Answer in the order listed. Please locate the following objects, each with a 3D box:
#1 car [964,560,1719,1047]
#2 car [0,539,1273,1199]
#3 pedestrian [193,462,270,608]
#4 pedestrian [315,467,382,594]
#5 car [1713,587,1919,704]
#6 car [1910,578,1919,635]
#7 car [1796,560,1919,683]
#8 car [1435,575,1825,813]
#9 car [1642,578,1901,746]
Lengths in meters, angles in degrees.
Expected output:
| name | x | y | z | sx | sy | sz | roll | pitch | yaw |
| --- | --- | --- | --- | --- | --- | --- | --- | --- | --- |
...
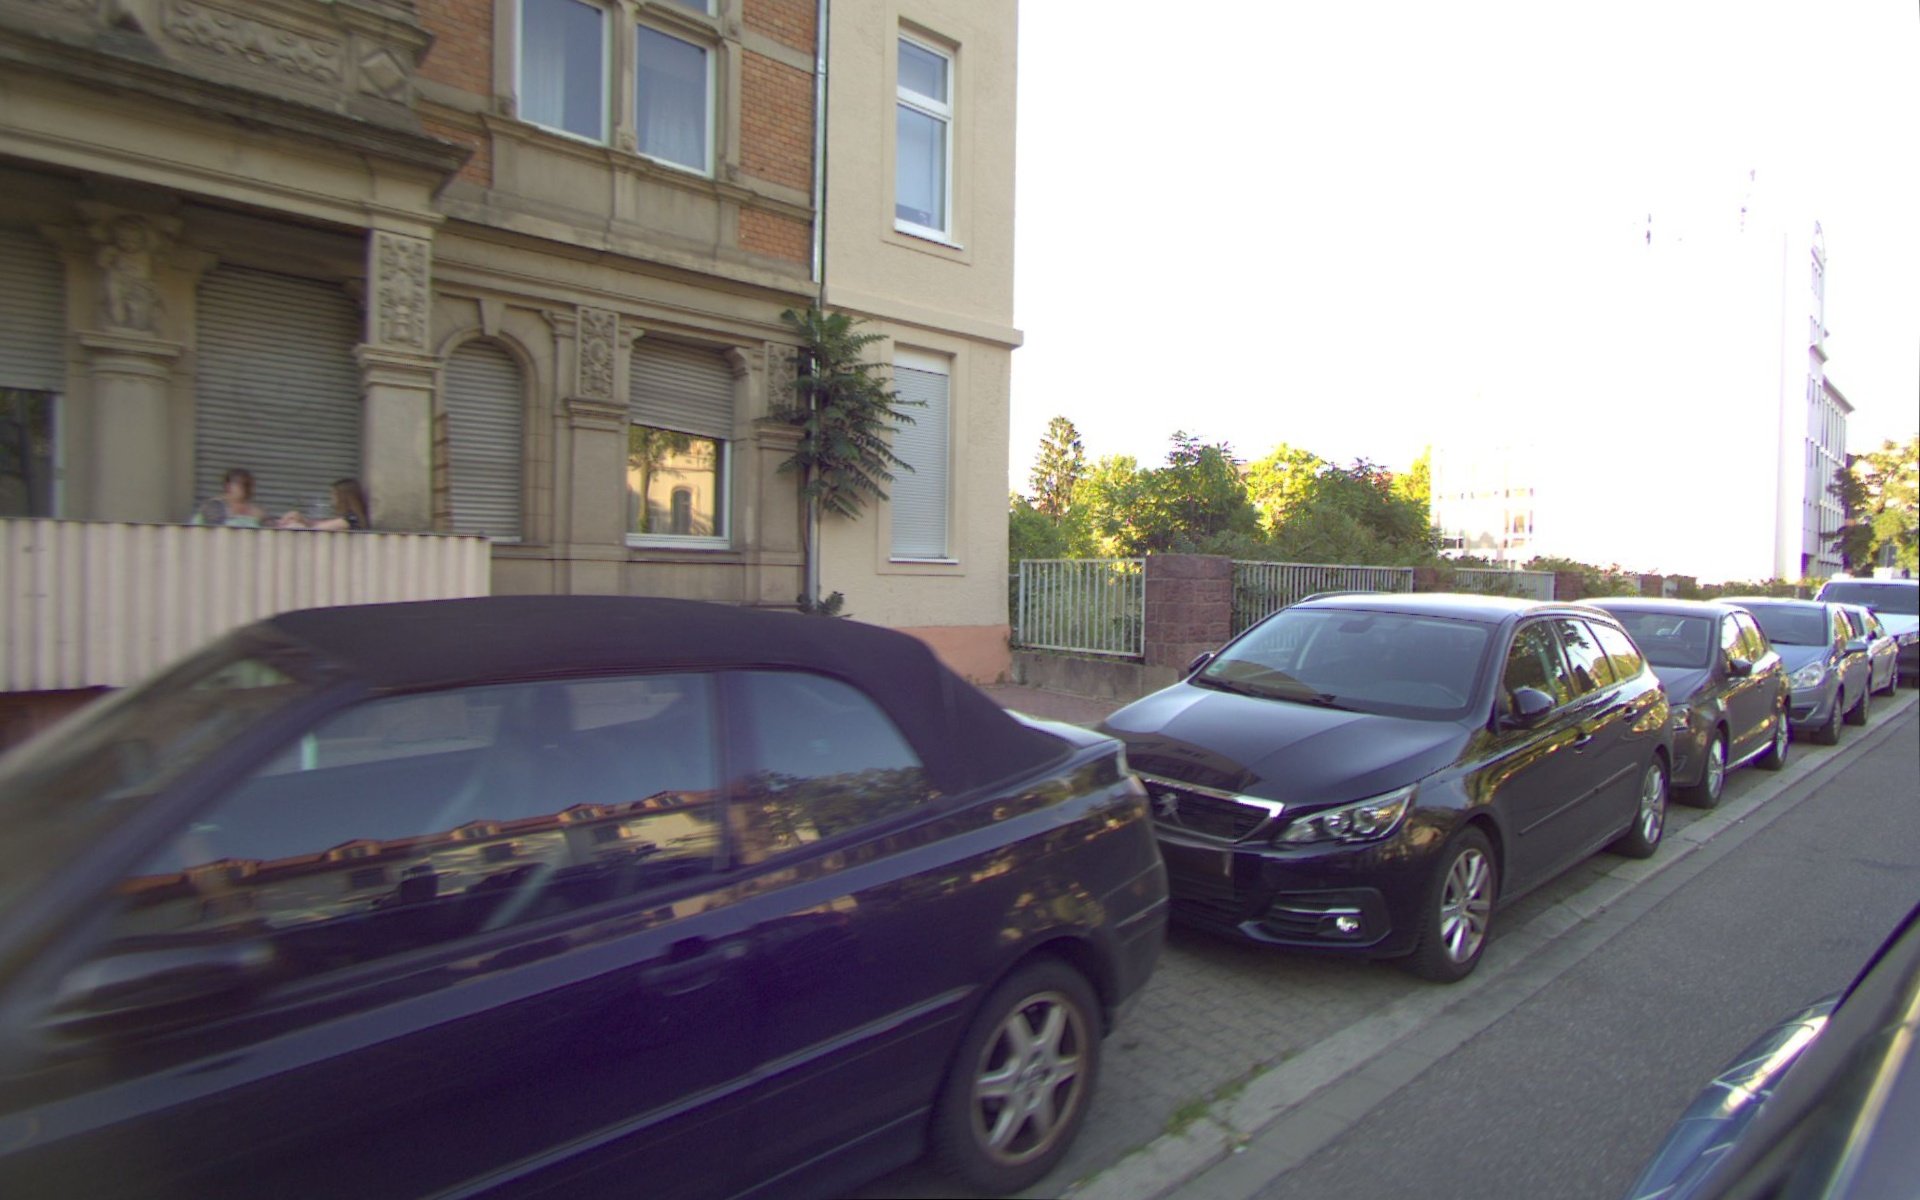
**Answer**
| name | x | y | z | sx | sy | sz | roll | pitch | yaw |
| --- | --- | --- | --- | --- | --- | --- | --- | --- | --- |
| car | 2.300 | 0.609 | 5.387 | 4.387 | 1.465 | 1.892 | -1 | 5 | -42 |
| car | -1.344 | 0.642 | 2.272 | 4.266 | 1.443 | 1.892 | 0 | 5 | -41 |
| pedestrian | -5.353 | -0.464 | 7.447 | 0.313 | 1.042 | 0.404 | 0 | -1 | -8 |
| pedestrian | -4.358 | -0.487 | 7.218 | 0.313 | 0.881 | 0.310 | 0 | -1 | -8 |
| car | 13.096 | 0.576 | 15.324 | 4.562 | 1.401 | 1.732 | 0 | 5 | -41 |
| car | 33.199 | 0.251 | 33.678 | 4.475 | 1.851 | 1.778 | 0 | 4 | -41 |
| car | 17.453 | 0.330 | 18.816 | 5.086 | 1.941 | 1.893 | 0 | 5 | -40 |
| car | 5.733 | 0.588 | 8.495 | 3.774 | 1.443 | 1.751 | 0 | 5 | -42 |
| car | 9.429 | 0.570 | 11.661 | 3.827 | 1.505 | 1.703 | -1 | 5 | -43 |
